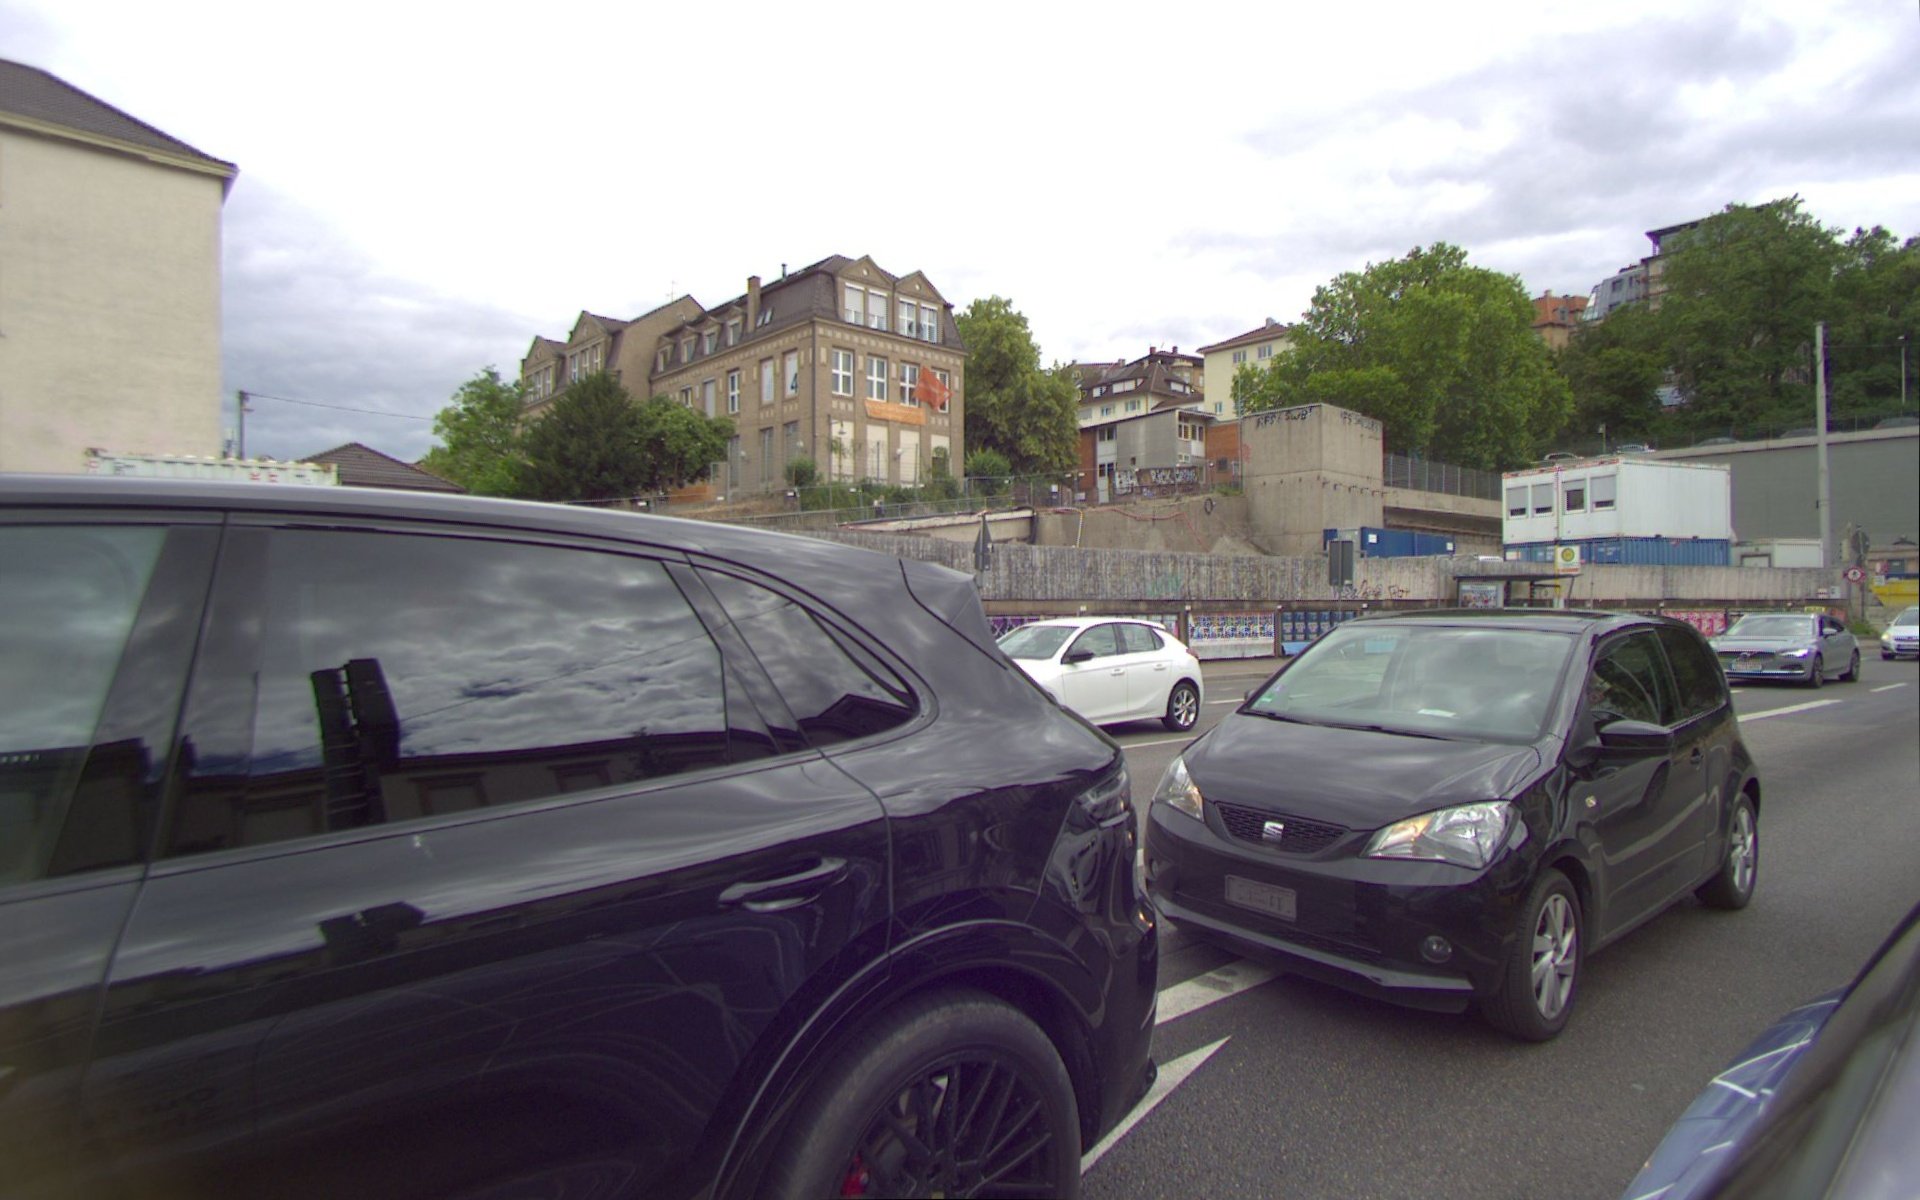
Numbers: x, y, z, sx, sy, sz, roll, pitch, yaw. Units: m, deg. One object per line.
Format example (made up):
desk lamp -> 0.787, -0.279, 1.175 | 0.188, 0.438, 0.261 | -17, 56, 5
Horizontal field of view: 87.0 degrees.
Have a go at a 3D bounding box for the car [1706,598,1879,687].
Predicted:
car -> 16.967, 0.772, 20.557 | 4.570, 1.591, 1.826 | 0, 0, -39

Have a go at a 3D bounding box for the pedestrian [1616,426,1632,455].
pedestrian -> 51.947, -12.477, 79.197 | 0.891, 2.039, 0.849 | 0, -1, -45

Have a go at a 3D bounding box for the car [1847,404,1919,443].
car -> 64.151, -12.177, 70.053 | 1.966, 2.039, 3.991 | 0, 1, -43

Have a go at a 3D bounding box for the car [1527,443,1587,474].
car -> 50.246, -11.897, 85.233 | 3.988, 2.039, 1.968 | 0, 1, 45

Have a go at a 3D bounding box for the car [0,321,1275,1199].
car -> -1.625, 0.584, 1.703 | 4.552, 1.707, 1.959 | 0, -1, -40

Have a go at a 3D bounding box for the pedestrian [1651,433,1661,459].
pedestrian -> 56.099, -12.406, 81.541 | 0.568, 2.039, 0.580 | 0, 0, -44

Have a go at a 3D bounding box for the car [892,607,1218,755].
car -> 1.253, 0.855, 12.382 | 3.927, 1.498, 1.663 | 0, -1, -38

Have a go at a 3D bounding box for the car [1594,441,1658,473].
car -> 53.562, -11.491, 81.444 | 3.988, 2.039, 1.968 | 0, 1, 45

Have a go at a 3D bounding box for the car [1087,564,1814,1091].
car -> 2.524, 0.661, 4.789 | 3.812, 1.515, 1.667 | 0, -1, -40

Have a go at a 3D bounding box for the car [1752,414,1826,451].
car -> 60.612, -12.206, 74.021 | 1.966, 2.039, 3.991 | 0, 1, -43

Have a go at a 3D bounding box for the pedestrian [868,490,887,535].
pedestrian -> -3.952, -4.173, 48.379 | 0.656, 2.039, 0.644 | 0, 0, -45

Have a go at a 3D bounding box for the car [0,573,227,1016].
car -> -4.887, 0.694, 3.422 | 3.812, 1.563, 1.667 | 0, -1, -40

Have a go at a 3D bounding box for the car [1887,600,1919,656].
car -> 29.382, 0.782, 29.921 | 4.460, 1.579, 1.707 | 0, 0, -31
